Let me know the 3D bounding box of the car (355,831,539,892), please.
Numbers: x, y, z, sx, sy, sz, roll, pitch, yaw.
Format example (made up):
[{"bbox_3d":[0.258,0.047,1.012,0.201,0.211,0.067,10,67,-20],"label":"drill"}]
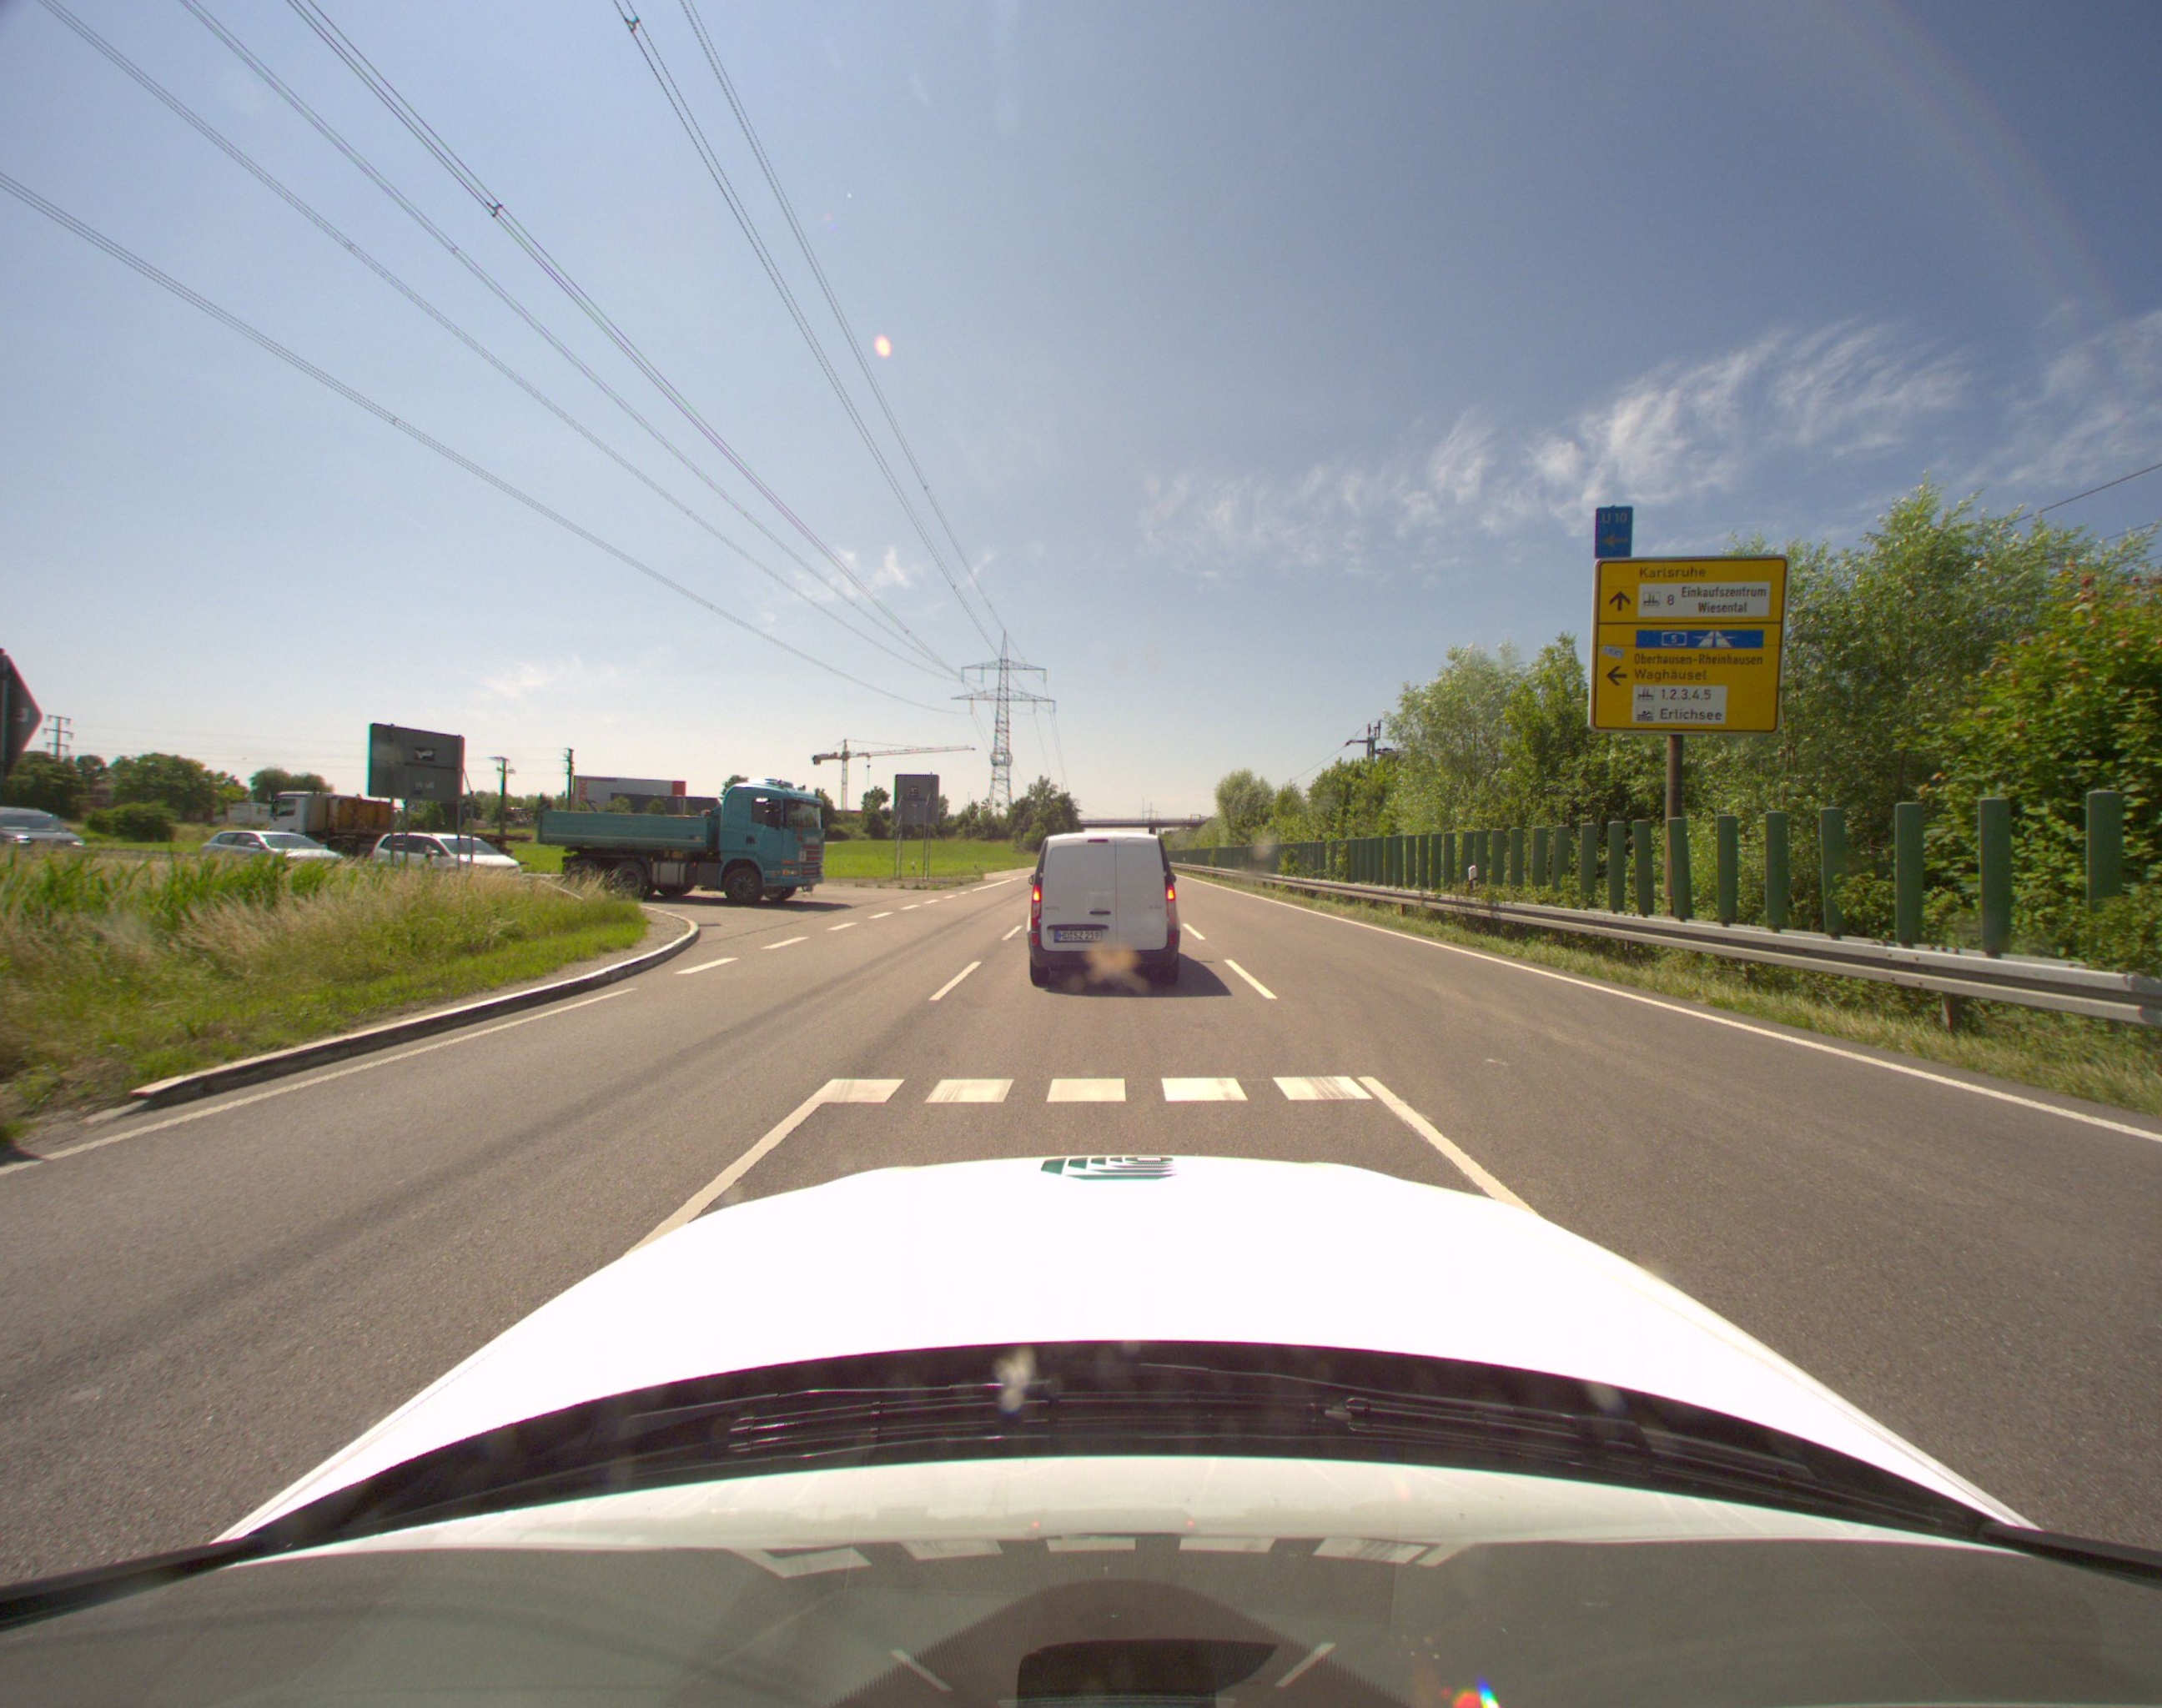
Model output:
[{"bbox_3d":[-18.848,0.185,24.253,4.507,1.612,1.976,2,0,16],"label":"car"}]

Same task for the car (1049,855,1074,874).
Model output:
[{"bbox_3d":[-1.536,0.806,66.100,1.775,1.464,4.001,0,0,2],"label":"car"}]

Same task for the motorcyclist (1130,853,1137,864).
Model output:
[{"bbox_3d":[6.736,0.580,104.198,0.886,1.476,1.002,0,0,1],"label":"motorcyclist"}]

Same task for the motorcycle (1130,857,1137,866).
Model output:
[{"bbox_3d":[6.668,0.940,103.875,0.788,1.157,1.901,0,0,1],"label":"motorcycle"}]

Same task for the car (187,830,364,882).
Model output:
[{"bbox_3d":[-24.943,0.059,25.255,4.402,1.470,1.724,1,0,12],"label":"car"}]

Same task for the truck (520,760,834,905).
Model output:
[{"bbox_3d":[-11.600,-0.613,23.781,7.869,3.734,2.501,2,0,4],"label":"truck"}]

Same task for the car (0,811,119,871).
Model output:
[{"bbox_3d":[-35.549,-0.497,27.255,4.906,1.867,2.094,2,1,10],"label":"car"}]

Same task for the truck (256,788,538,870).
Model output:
[{"bbox_3d":[-28.560,-1.053,34.271,9.629,3.288,2.832,0,0,2],"label":"truck"}]

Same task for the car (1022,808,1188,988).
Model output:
[{"bbox_3d":[0.317,0.487,11.016,1.820,1.971,4.001,0,0,1],"label":"car"}]

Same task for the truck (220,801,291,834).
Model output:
[{"bbox_3d":[-130.723,-5.649,129.258,3.697,4.646,13.127,1,0,-26],"label":"truck"}]
